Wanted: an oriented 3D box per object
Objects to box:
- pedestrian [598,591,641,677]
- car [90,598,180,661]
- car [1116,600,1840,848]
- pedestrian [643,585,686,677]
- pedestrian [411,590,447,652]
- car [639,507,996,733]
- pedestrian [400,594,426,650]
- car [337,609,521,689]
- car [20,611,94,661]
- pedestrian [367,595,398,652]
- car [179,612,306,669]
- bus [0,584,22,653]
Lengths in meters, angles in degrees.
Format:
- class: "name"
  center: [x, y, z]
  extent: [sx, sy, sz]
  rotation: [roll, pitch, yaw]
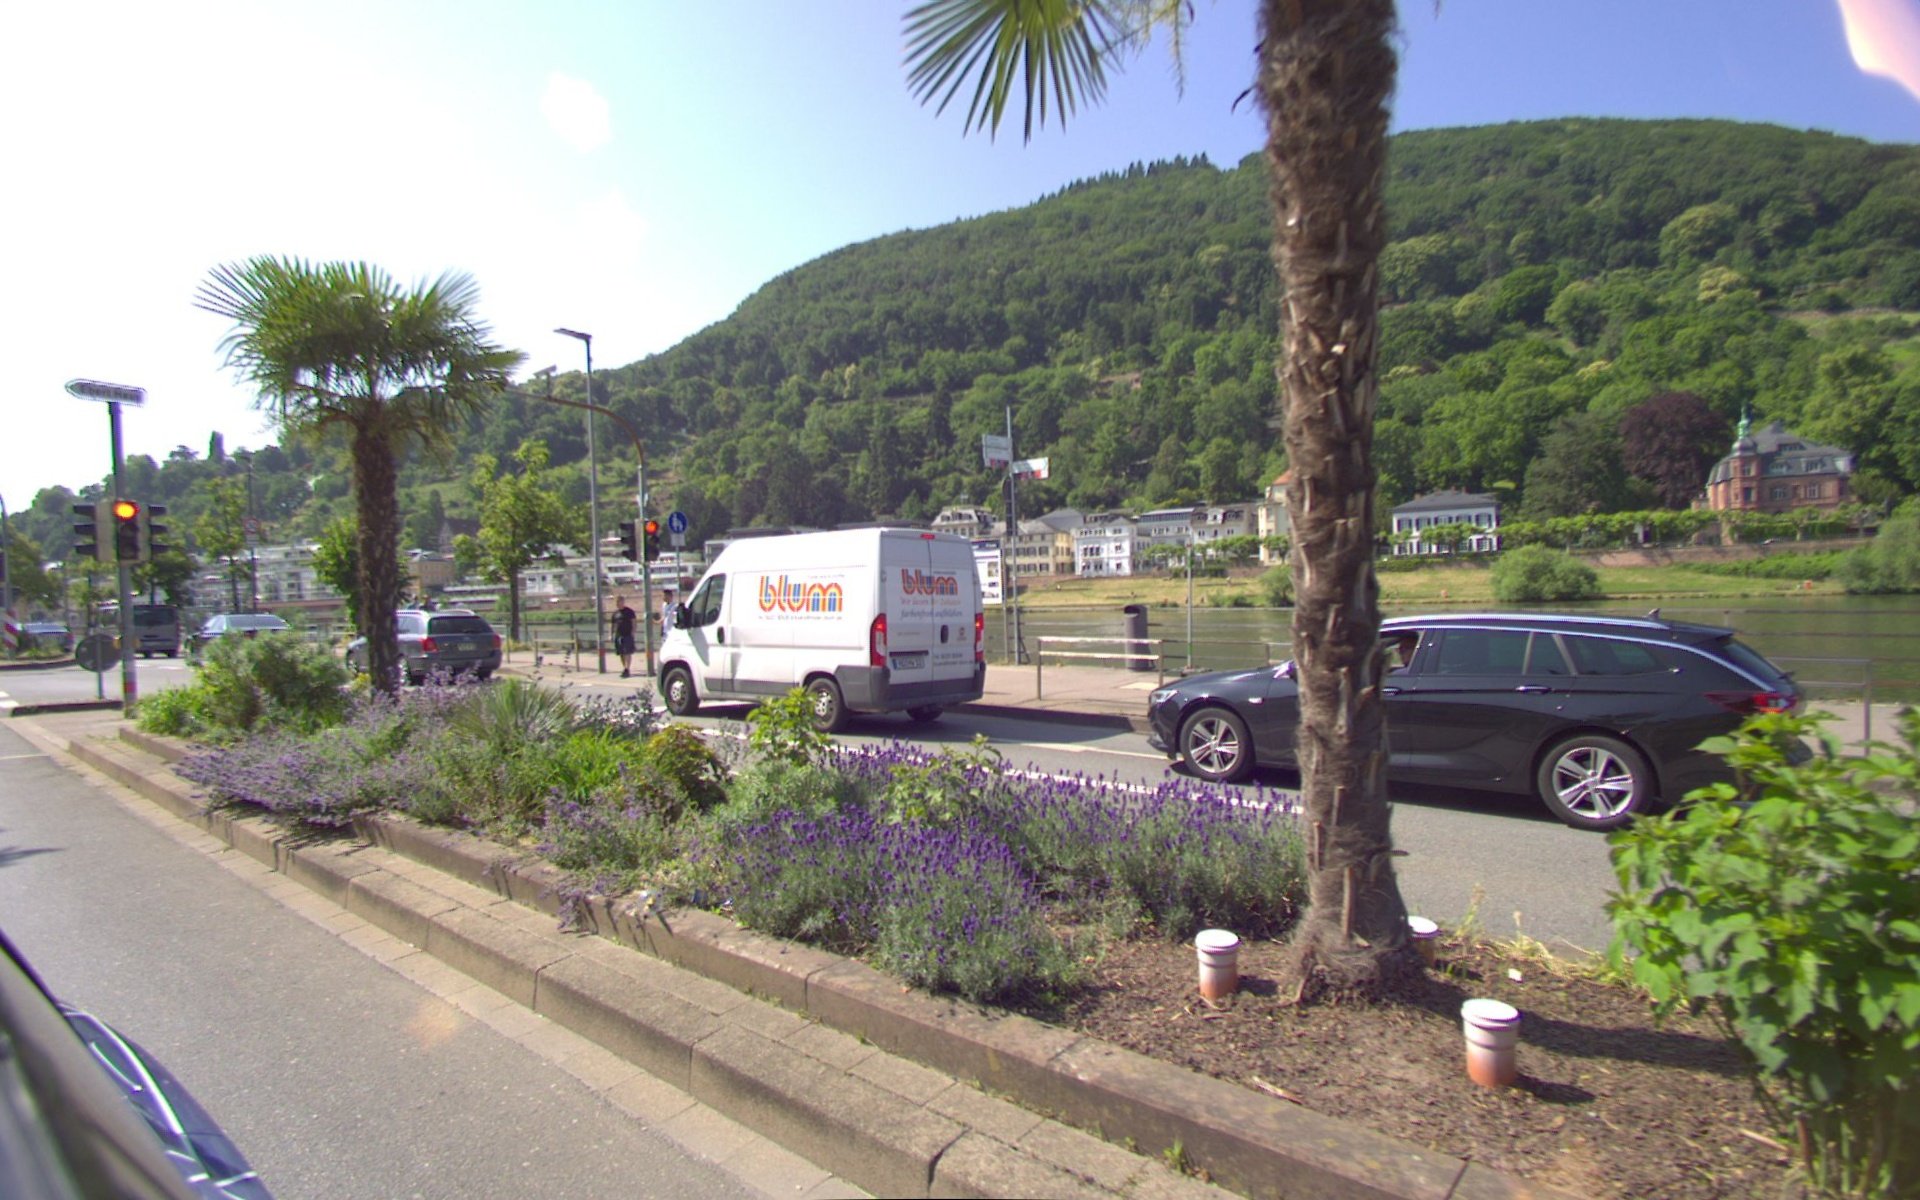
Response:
- class: "pedestrian"
  center: [-7.133, 0.717, 21.219]
  extent: [0.602, 1.726, 0.396]
  rotation: [-4, 4, 0]
- class: "car"
  center: [-30.720, 1.047, 37.626]
  extent: [5.021, 2.165, 1.845]
  rotation: [-1, 1, 42]
- class: "car"
  center: [3.911, 0.741, 8.278]
  extent: [4.917, 1.429, 1.973]
  rotation: [-1, 0, 41]
- class: "pedestrian"
  center: [-6.031, 0.624, 20.684]
  extent: [0.602, 1.805, 0.396]
  rotation: [-4, 4, 0]
- class: "pedestrian"
  center: [-16.397, 0.647, 31.266]
  extent: [0.579, 1.870, 0.784]
  rotation: [-1, 0, 38]
- class: "car"
  center: [-2.051, 0.266, 13.758]
  extent: [4.745, 2.545, 2.172]
  rotation: [-1, -2, 40]
- class: "pedestrian"
  center: [-17.555, 0.710, 32.480]
  extent: [0.502, 1.765, 0.586]
  rotation: [-1, 0, 38]
- class: "car"
  center: [-11.336, 0.963, 21.507]
  extent: [4.258, 1.463, 1.974]
  rotation: [-1, 1, 40]
- class: "car"
  center: [-39.280, 1.517, 43.991]
  extent: [3.999, 2.029, 1.972]
  rotation: [-1, 0, 42]
- class: "pedestrian"
  center: [-18.148, 0.738, 31.823]
  extent: [0.779, 1.765, 0.586]
  rotation: [-1, 0, 38]
- class: "car"
  center: [-20.453, 1.088, 28.783]
  extent: [4.642, 1.469, 1.972]
  rotation: [-1, 0, 42]
- class: "bus"
  center: [-52.301, 0.958, 52.510]
  extent: [10.759, 3.413, 2.629]
  rotation: [-1, 0, 32]
